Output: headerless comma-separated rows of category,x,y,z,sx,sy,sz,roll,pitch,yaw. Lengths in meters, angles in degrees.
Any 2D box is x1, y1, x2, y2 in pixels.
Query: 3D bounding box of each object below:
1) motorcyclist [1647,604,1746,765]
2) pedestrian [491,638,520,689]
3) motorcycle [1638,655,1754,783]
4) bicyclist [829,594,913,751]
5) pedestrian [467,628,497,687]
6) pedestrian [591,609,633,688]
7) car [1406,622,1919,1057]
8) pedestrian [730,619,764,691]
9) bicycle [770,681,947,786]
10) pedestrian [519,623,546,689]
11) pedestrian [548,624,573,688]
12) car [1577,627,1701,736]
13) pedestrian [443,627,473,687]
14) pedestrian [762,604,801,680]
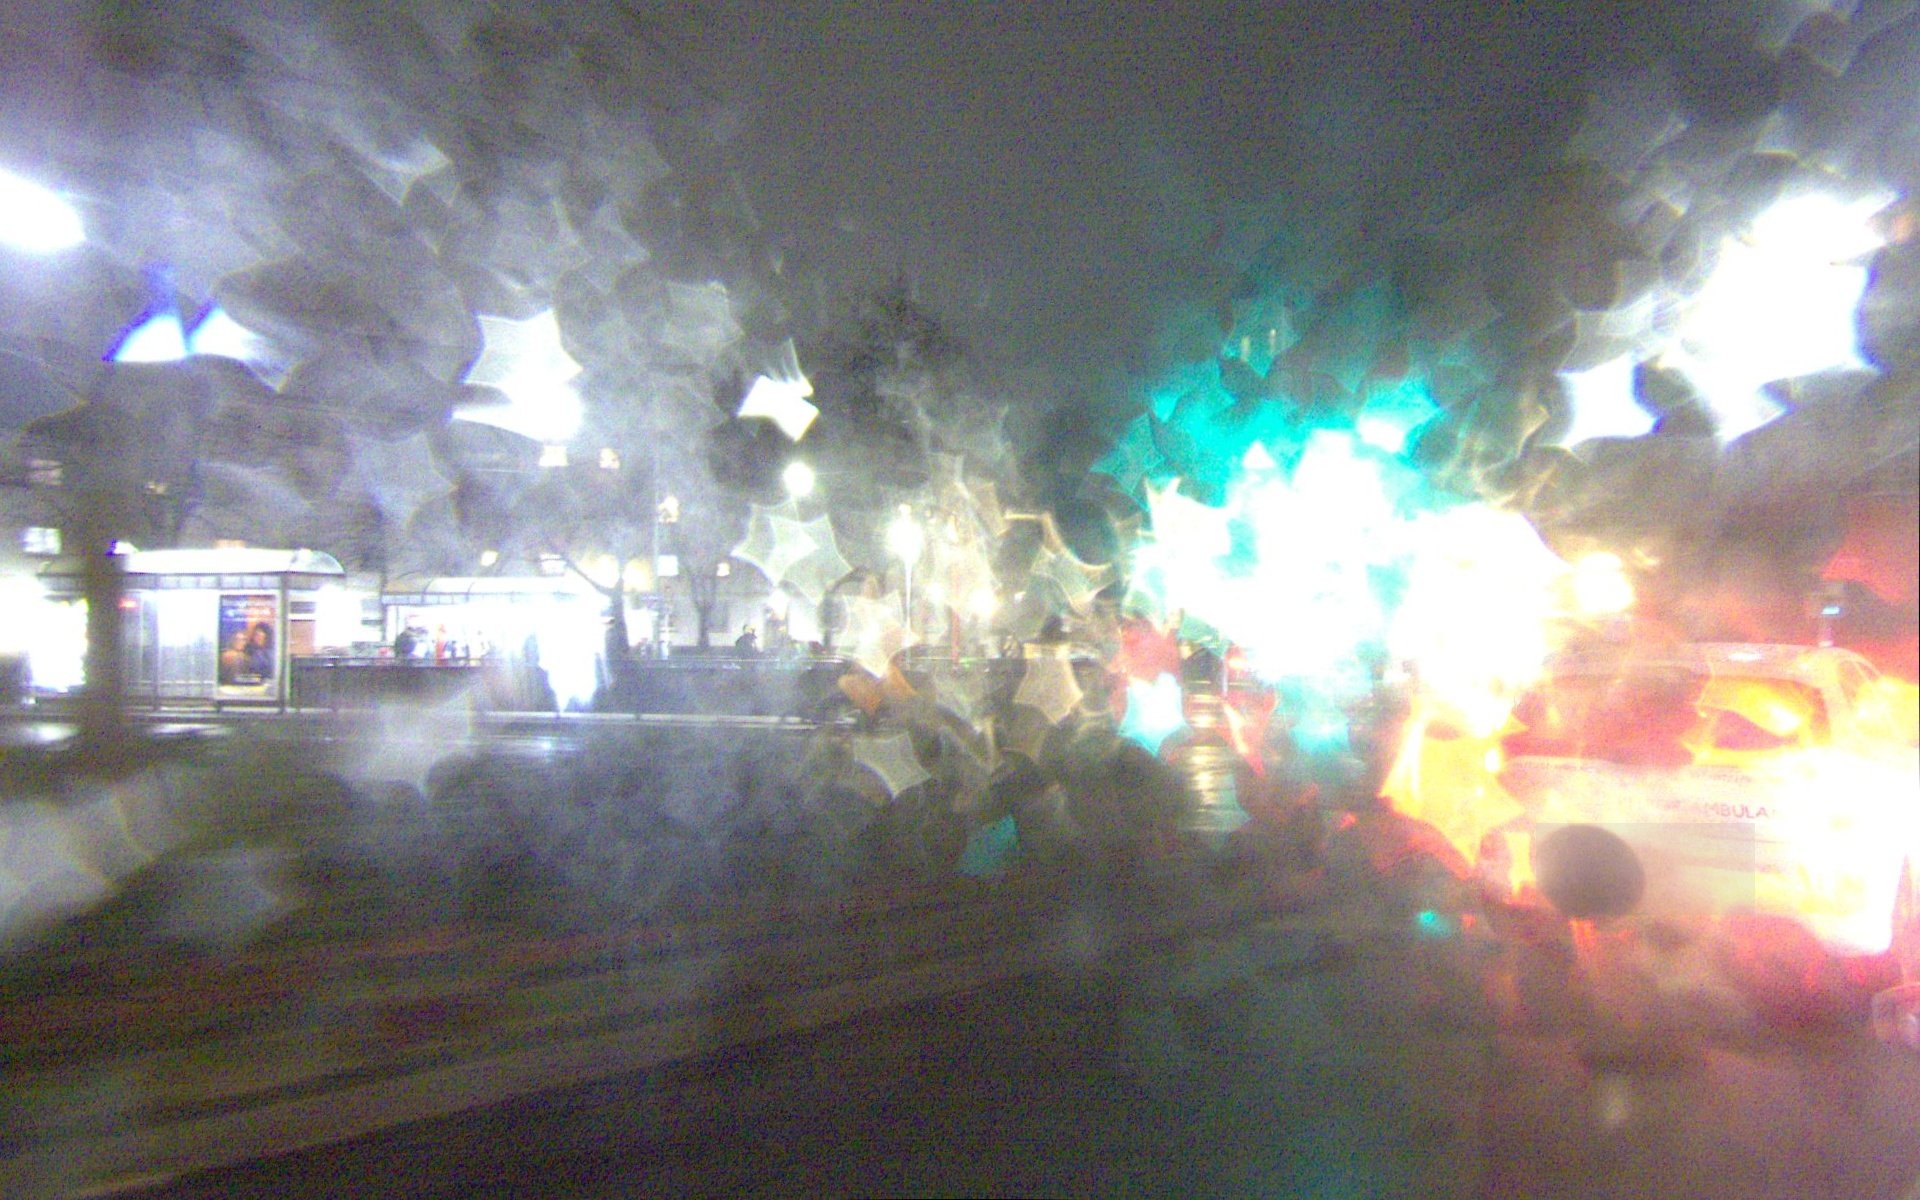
motorcyclist,8.260,0.916,11.304,0.778,1.717,0.818,1,-1,30
pedestrian,-11.938,1.653,26.376,0.618,1.270,0.579,0,1,-33
motorcycle,8.316,1.283,11.438,0.778,1.229,2.246,1,-1,29
bicyclist,-0.901,0.726,10.332,0.800,1.568,0.572,1,0,0
pedestrian,-12.785,1.526,26.871,0.575,1.548,0.479,1,1,-8
pedestrian,-9.116,1.258,26.355,0.841,2.013,0.610,1,1,7
car,4.155,0.897,5.423,3.571,1.536,1.902,1,-2,-42
pedestrian,-5.438,1.395,25.624,0.703,1.798,0.671,1,1,0
bicycle,-1.018,1.357,10.328,1.745,0.982,0.572,1,0,0
pedestrian,-11.128,1.450,26.144,0.554,1.674,0.579,0,1,-33
pedestrian,-10.497,1.449,26.365,0.527,1.651,0.396,0,1,-34
car,12.579,1.419,18.688,1.724,1.762,3.789,1,-1,34
pedestrian,-13.390,1.511,26.787,0.564,1.568,0.511,1,1,-8
pedestrian,-4.361,1.014,24.557,0.658,1.798,0.717,1,1,20
